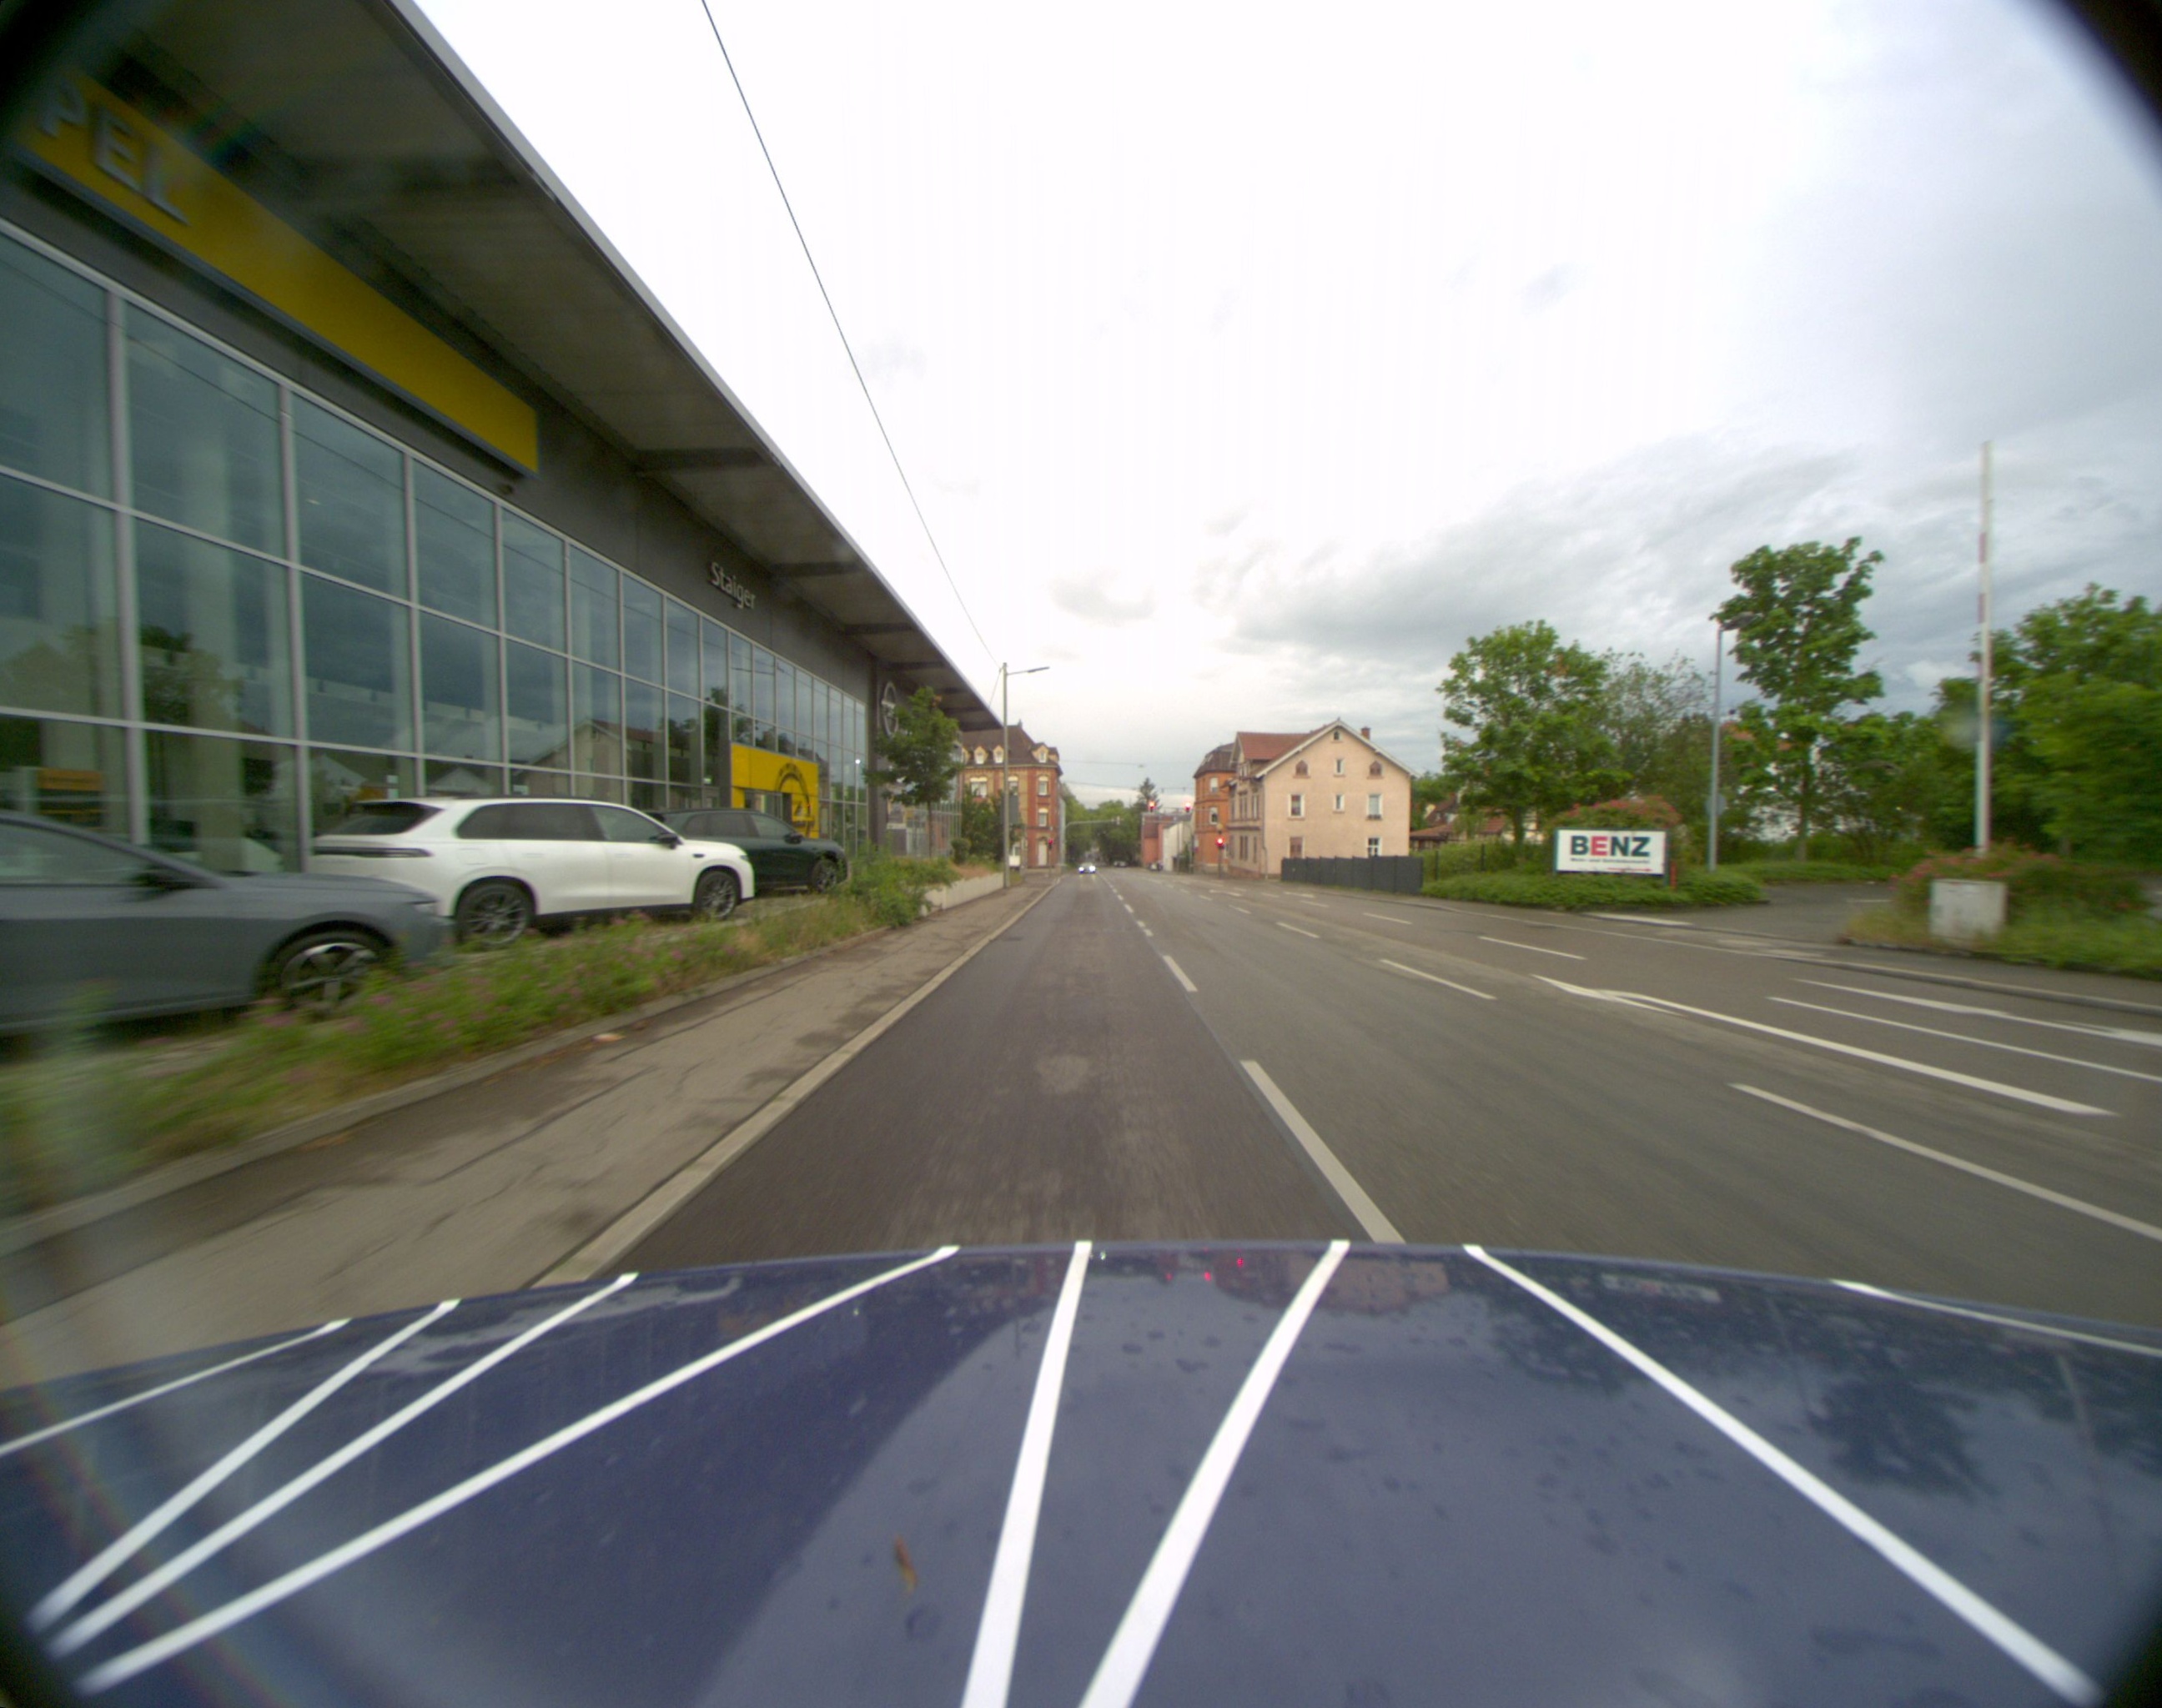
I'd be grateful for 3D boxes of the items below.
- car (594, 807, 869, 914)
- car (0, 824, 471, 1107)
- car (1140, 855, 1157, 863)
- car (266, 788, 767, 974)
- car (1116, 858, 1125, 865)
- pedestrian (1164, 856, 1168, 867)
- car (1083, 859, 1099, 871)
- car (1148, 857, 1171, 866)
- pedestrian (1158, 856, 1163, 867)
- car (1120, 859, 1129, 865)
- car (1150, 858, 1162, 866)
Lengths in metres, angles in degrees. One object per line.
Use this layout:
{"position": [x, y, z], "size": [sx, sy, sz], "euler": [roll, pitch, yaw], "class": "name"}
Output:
{"position": [-6.370, 0.049, 14.426], "size": [1.994, 1.701, 4.436], "euler": [2, 2, 27], "class": "car"}
{"position": [-6.532, 0.561, 4.161], "size": [1.910, 1.446, 4.580], "euler": [2, 2, 29], "class": "car"}
{"position": [16.777, 1.267, 187.950], "size": [3.994, 2.002, 2.001], "euler": [-1, 1, 8], "class": "car"}
{"position": [-6.454, 0.190, 9.441], "size": [1.995, 1.701, 4.585], "euler": [2, 2, 24], "class": "car"}
{"position": [9.399, 1.706, 181.946], "size": [1.816, 1.537, 4.198], "euler": [3, 0, 1], "class": "car"}
{"position": [13.324, 1.148, 119.221], "size": [0.641, 1.696, 0.911], "euler": [-1, 0, 2], "class": "pedestrian"}
{"position": [1.138, 1.319, 89.854], "size": [1.842, 1.403, 4.000], "euler": [0, 0, 1], "class": "car"}
{"position": [16.418, 1.546, 158.599], "size": [4.542, 1.599, 2.153], "euler": [-2, 0, 3], "class": "car"}
{"position": [12.510, 1.127, 119.221], "size": [0.641, 1.696, 0.911], "euler": [-1, 0, 2], "class": "pedestrian"}
{"position": [9.750, 1.768, 170.601], "size": [1.789, 1.402, 4.197], "euler": [2, 0, -2], "class": "car"}
{"position": [13.639, 1.444, 138.656], "size": [1.749, 1.499, 4.178], "euler": [0, 0, 1], "class": "car"}
